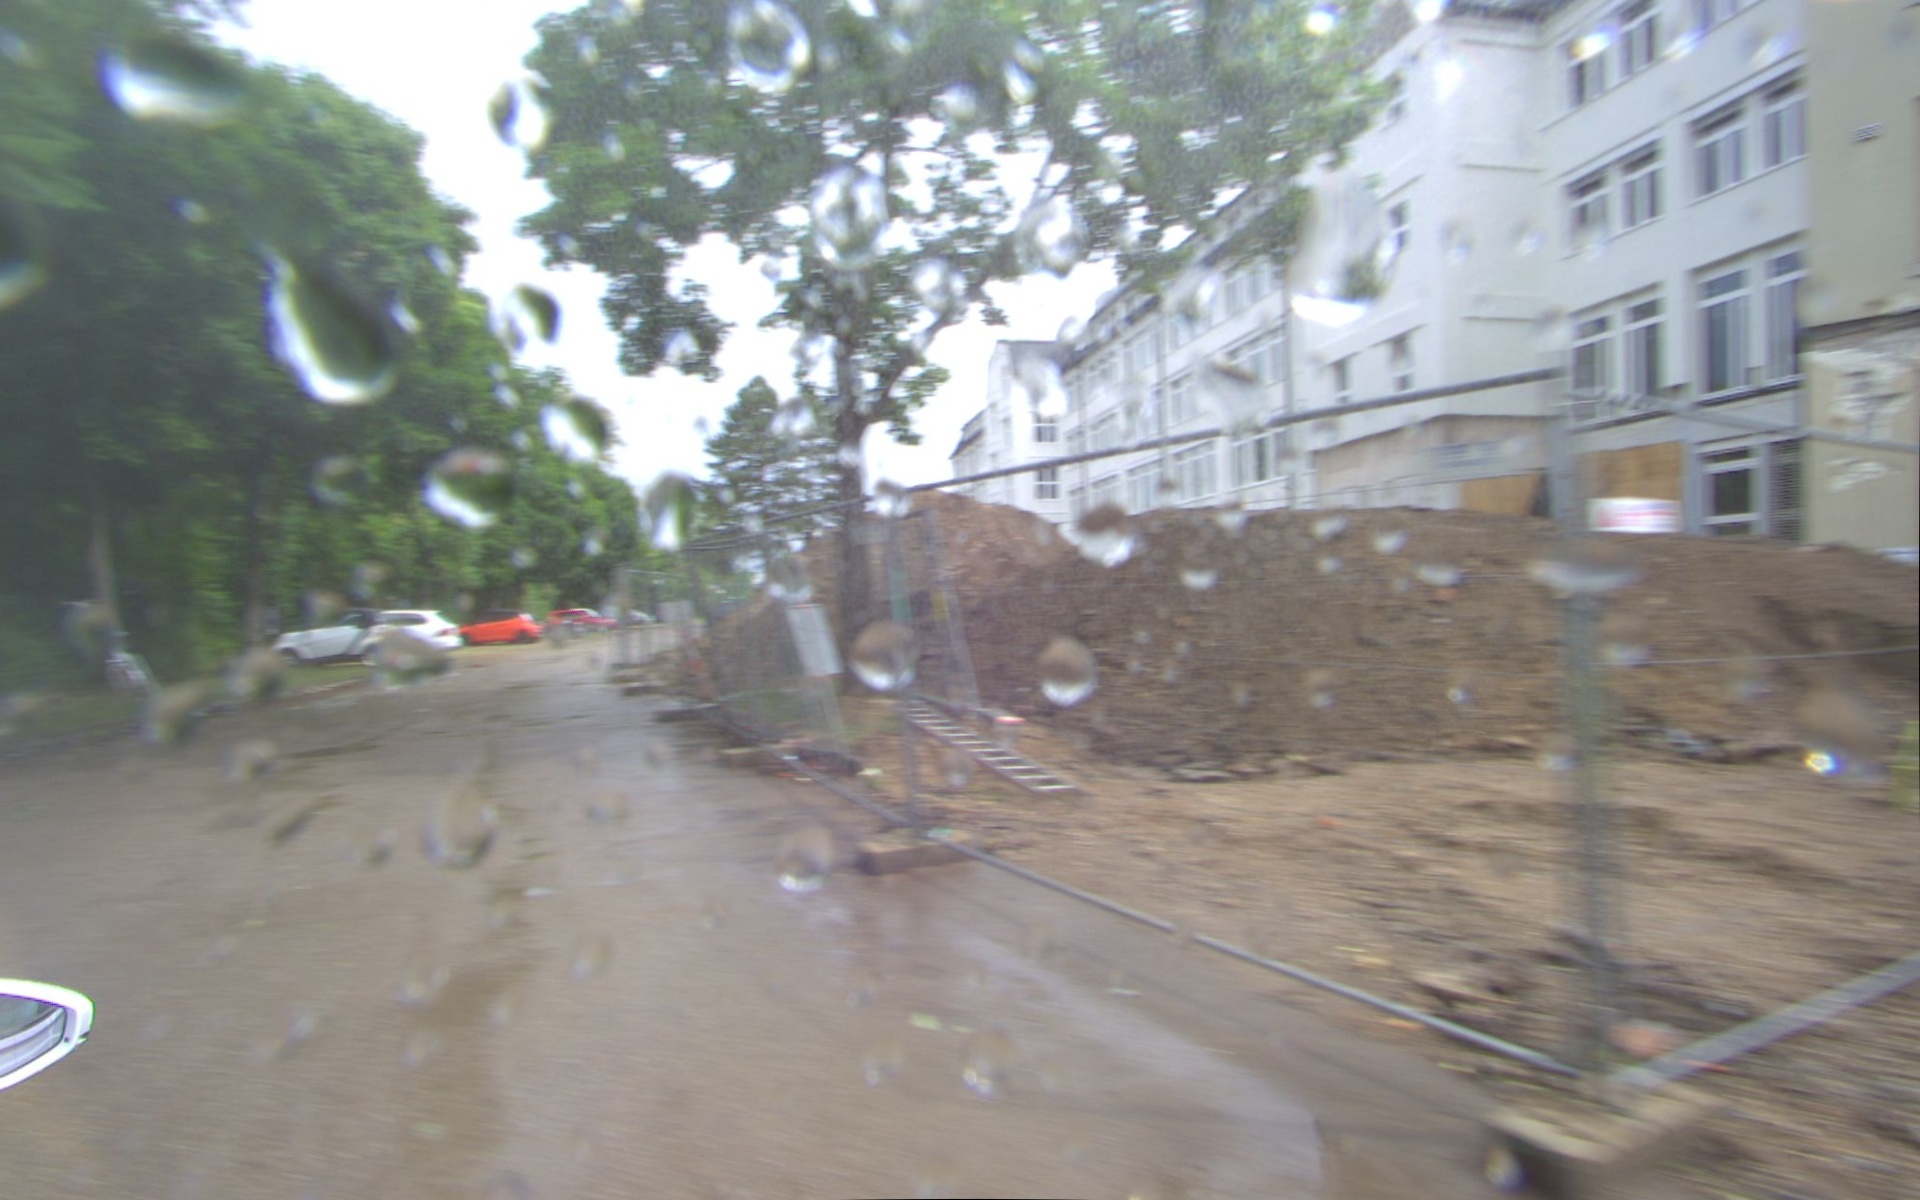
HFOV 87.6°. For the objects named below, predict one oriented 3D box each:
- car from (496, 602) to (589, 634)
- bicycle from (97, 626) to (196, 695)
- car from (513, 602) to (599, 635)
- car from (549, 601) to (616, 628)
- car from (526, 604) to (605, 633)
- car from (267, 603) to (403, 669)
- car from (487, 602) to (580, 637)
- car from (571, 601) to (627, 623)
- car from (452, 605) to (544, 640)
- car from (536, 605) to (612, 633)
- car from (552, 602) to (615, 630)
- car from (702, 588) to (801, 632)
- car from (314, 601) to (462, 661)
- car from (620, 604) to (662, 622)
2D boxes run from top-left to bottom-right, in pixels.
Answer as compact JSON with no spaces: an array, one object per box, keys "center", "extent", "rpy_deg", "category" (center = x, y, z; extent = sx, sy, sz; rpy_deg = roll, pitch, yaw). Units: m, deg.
[{"center":[-20.539,0.878,49.414],"extent":[3.927,1.516,1.990],"rpy_deg":[0,1,-13],"category":"car"},{"center":[-11.612,0.842,14.339],"extent":[0.468,0.872,1.453],"rpy_deg":[0,1,-12],"category":"bicycle"},{"center":[-21.165,0.959,52.582],"extent":[4.049,1.673,1.842],"rpy_deg":[0,1,-18],"category":"car"},{"center":[-23.785,0.909,63.188],"extent":[3.801,1.595,1.954],"rpy_deg":[0,1,-17],"category":"car"},{"center":[-21.574,0.999,54.880],"extent":[3.885,1.537,1.802],"rpy_deg":[0,1,-17],"category":"car"},{"center":[-15.836,0.872,25.520],"extent":[2.719,1.505,1.586],"rpy_deg":[-2,2,-25],"category":"car"},{"center":[-20.073,0.893,47.318],"extent":[3.735,1.550,1.906],"rpy_deg":[0,1,-12],"category":"car"},{"center":[-27.267,0.911,75.737],"extent":[3.801,1.595,1.954],"rpy_deg":[0,1,-17],"category":"car"},{"center":[-19.589,0.949,42.606],"extent":[3.232,1.444,1.590],"rpy_deg":[0,1,-10],"category":"car"},{"center":[-22.359,1.080,58.167],"extent":[3.928,1.581,1.760],"rpy_deg":[0,1,-16],"category":"car"},{"center":[-22.911,0.974,61.046],"extent":[3.537,1.642,1.864],"rpy_deg":[0,1,-20],"category":"car"},{"center":[-10.562,0.466,50.812],"extent":[4.699,1.967,2.399],"rpy_deg":[-2,2,-12],"category":"car"},{"center":[-15.895,0.831,28.021],"extent":[3.388,1.489,1.733],"rpy_deg":[-2,2,-25],"category":"car"},{"center":[-31.736,1.239,99.802],"extent":[3.929,1.734,1.909],"rpy_deg":[0,1,-17],"category":"car"}]
